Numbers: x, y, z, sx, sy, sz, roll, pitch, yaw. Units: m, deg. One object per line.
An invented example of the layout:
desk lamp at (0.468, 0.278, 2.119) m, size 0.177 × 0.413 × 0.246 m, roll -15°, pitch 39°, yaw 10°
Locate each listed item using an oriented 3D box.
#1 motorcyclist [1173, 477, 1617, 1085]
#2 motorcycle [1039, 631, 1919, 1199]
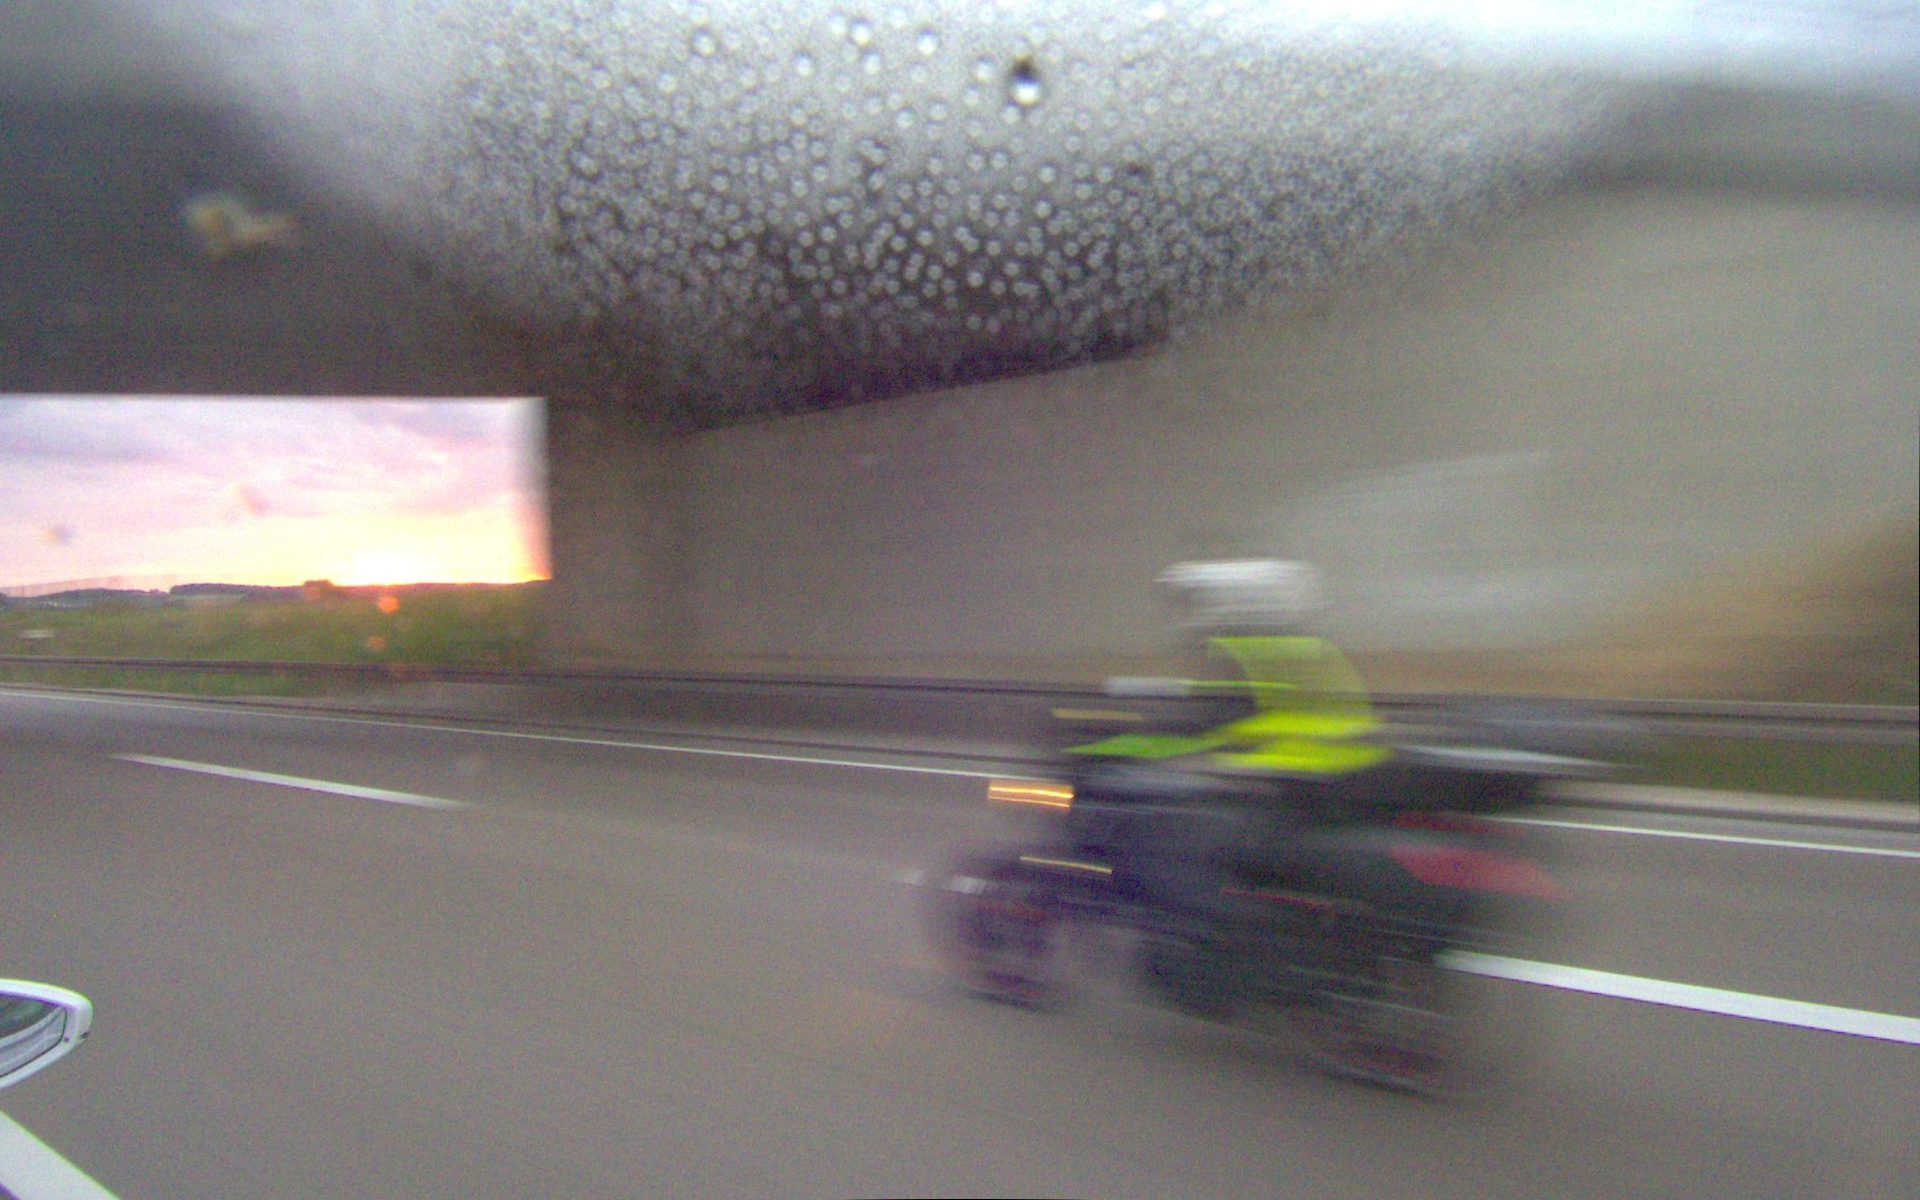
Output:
motorcyclist at (1.383, 0.465, 3.169) m, size 1.152 × 1.507 × 0.864 m, roll 0°, pitch -1°, yaw 34°
motorcycle at (1.483, 0.803, 3.139) m, size 2.315 × 1.364 × 0.900 m, roll 0°, pitch 0°, yaw 33°
